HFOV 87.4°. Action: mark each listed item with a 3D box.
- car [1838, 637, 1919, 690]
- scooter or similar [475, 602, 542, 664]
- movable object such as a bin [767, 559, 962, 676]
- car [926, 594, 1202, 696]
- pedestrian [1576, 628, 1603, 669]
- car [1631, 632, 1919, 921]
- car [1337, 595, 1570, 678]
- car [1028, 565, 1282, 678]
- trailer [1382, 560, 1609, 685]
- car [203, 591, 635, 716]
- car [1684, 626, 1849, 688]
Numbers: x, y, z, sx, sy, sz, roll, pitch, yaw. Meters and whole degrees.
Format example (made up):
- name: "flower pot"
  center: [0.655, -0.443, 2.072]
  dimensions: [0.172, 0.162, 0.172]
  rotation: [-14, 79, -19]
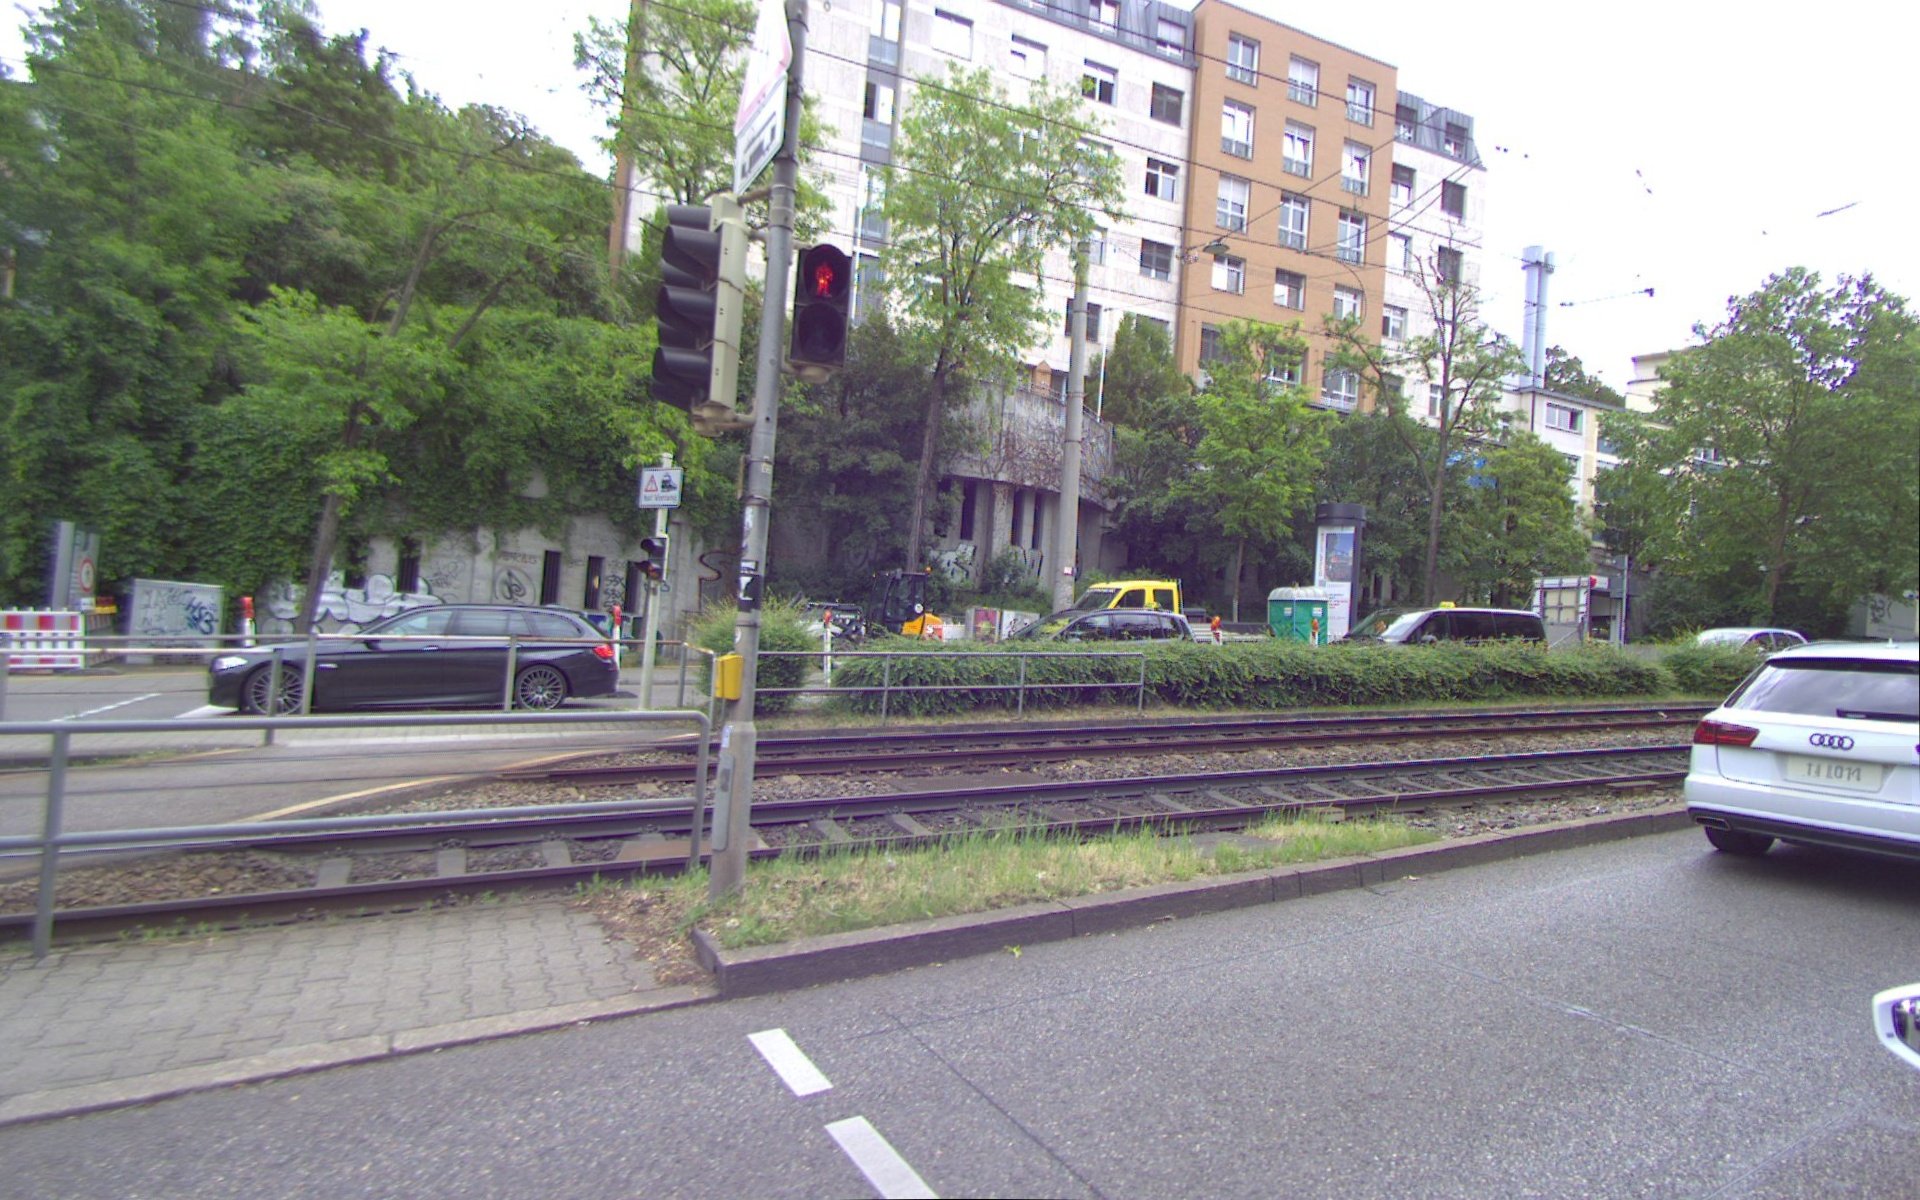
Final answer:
- name: "car"
  center: [27.774, 1.842, 29.286]
  dimensions: [4.026, 1.426, 1.762]
  rotation: [2, -2, -24]
- name: "scooter or similar"
  center: [-9.858, 0.713, 21.945]
  dimensions: [1.281, 1.307, 0.424]
  rotation: [1, -1, -38]
- name: "movable object such as a bin"
  center: [-2.212, 0.399, 23.111]
  dimensions: [4.040, 2.501, 1.928]
  rotation: [1, 1, -23]
- name: "car"
  center: [1.866, 0.798, 17.961]
  dimensions: [4.557, 1.626, 1.988]
  rotation: [2, -2, -25]
- name: "pedestrian"
  center: [30.546, 2.338, 48.746]
  dimensions: [0.781, 1.936, 0.811]
  rotation: [1, -1, -20]
- name: "car"
  center: [6.721, 1.008, 6.816]
  dimensions: [4.565, 1.474, 1.869]
  rotation: [2, -1, -31]
- name: "car"
  center: [10.582, 0.797, 21.555]
  dimensions: [4.542, 1.626, 1.990]
  rotation: [2, -2, -22]
- name: "car"
  center: [4.995, 0.614, 25.560]
  dimensions: [6.247, 2.628, 2.152]
  rotation: [2, -2, -23]
- name: "trailer"
  center: [14.052, 0.609, 26.371]
  dimensions: [5.504, 3.013, 2.017]
  rotation: [2, 0, -19]
- name: "car"
  center: [-7.032, 0.750, 13.592]
  dimensions: [4.782, 1.454, 1.875]
  rotation: [2, -3, -27]
- name: "car"
  center: [20.569, 1.443, 25.622]
  dimensions: [3.683, 1.462, 1.657]
  rotation: [2, -2, -21]
